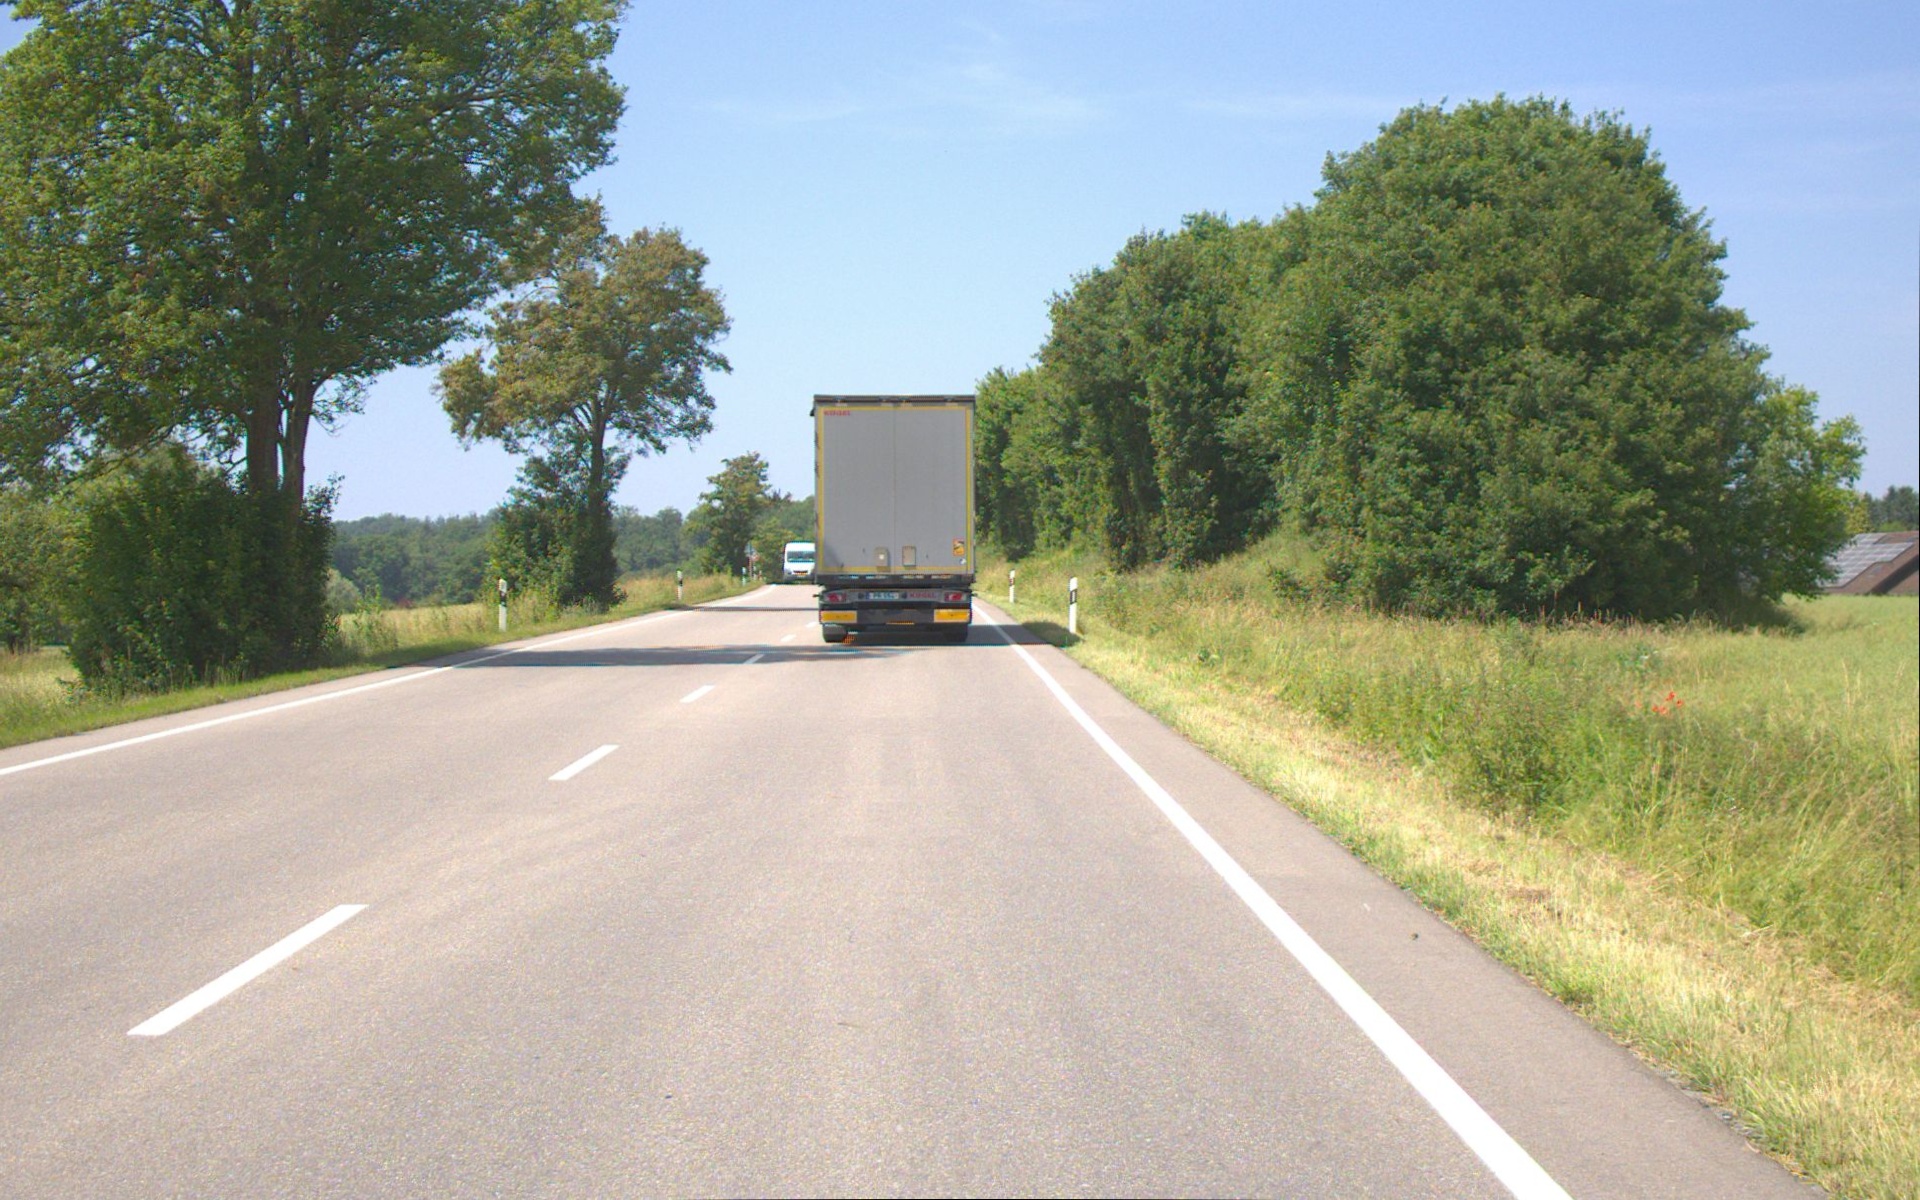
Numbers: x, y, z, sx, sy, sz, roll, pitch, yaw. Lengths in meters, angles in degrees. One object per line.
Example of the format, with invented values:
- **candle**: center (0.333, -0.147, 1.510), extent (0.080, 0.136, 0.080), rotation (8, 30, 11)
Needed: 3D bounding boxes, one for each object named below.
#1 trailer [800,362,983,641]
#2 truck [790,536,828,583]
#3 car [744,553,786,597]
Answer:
- **trailer**: center (-1.210, -1.640, 60.811), extent (2.867, 4.385, 13.494), rotation (0, 1, -1)
- **truck**: center (-9.443, -2.543, 214.067), extent (2.017, 2.861, 7.532), rotation (-1, 1, -5)
- **car**: center (-9.030, -1.173, 159.245), extent (1.873, 2.007, 4.075), rotation (1, 1, -3)
